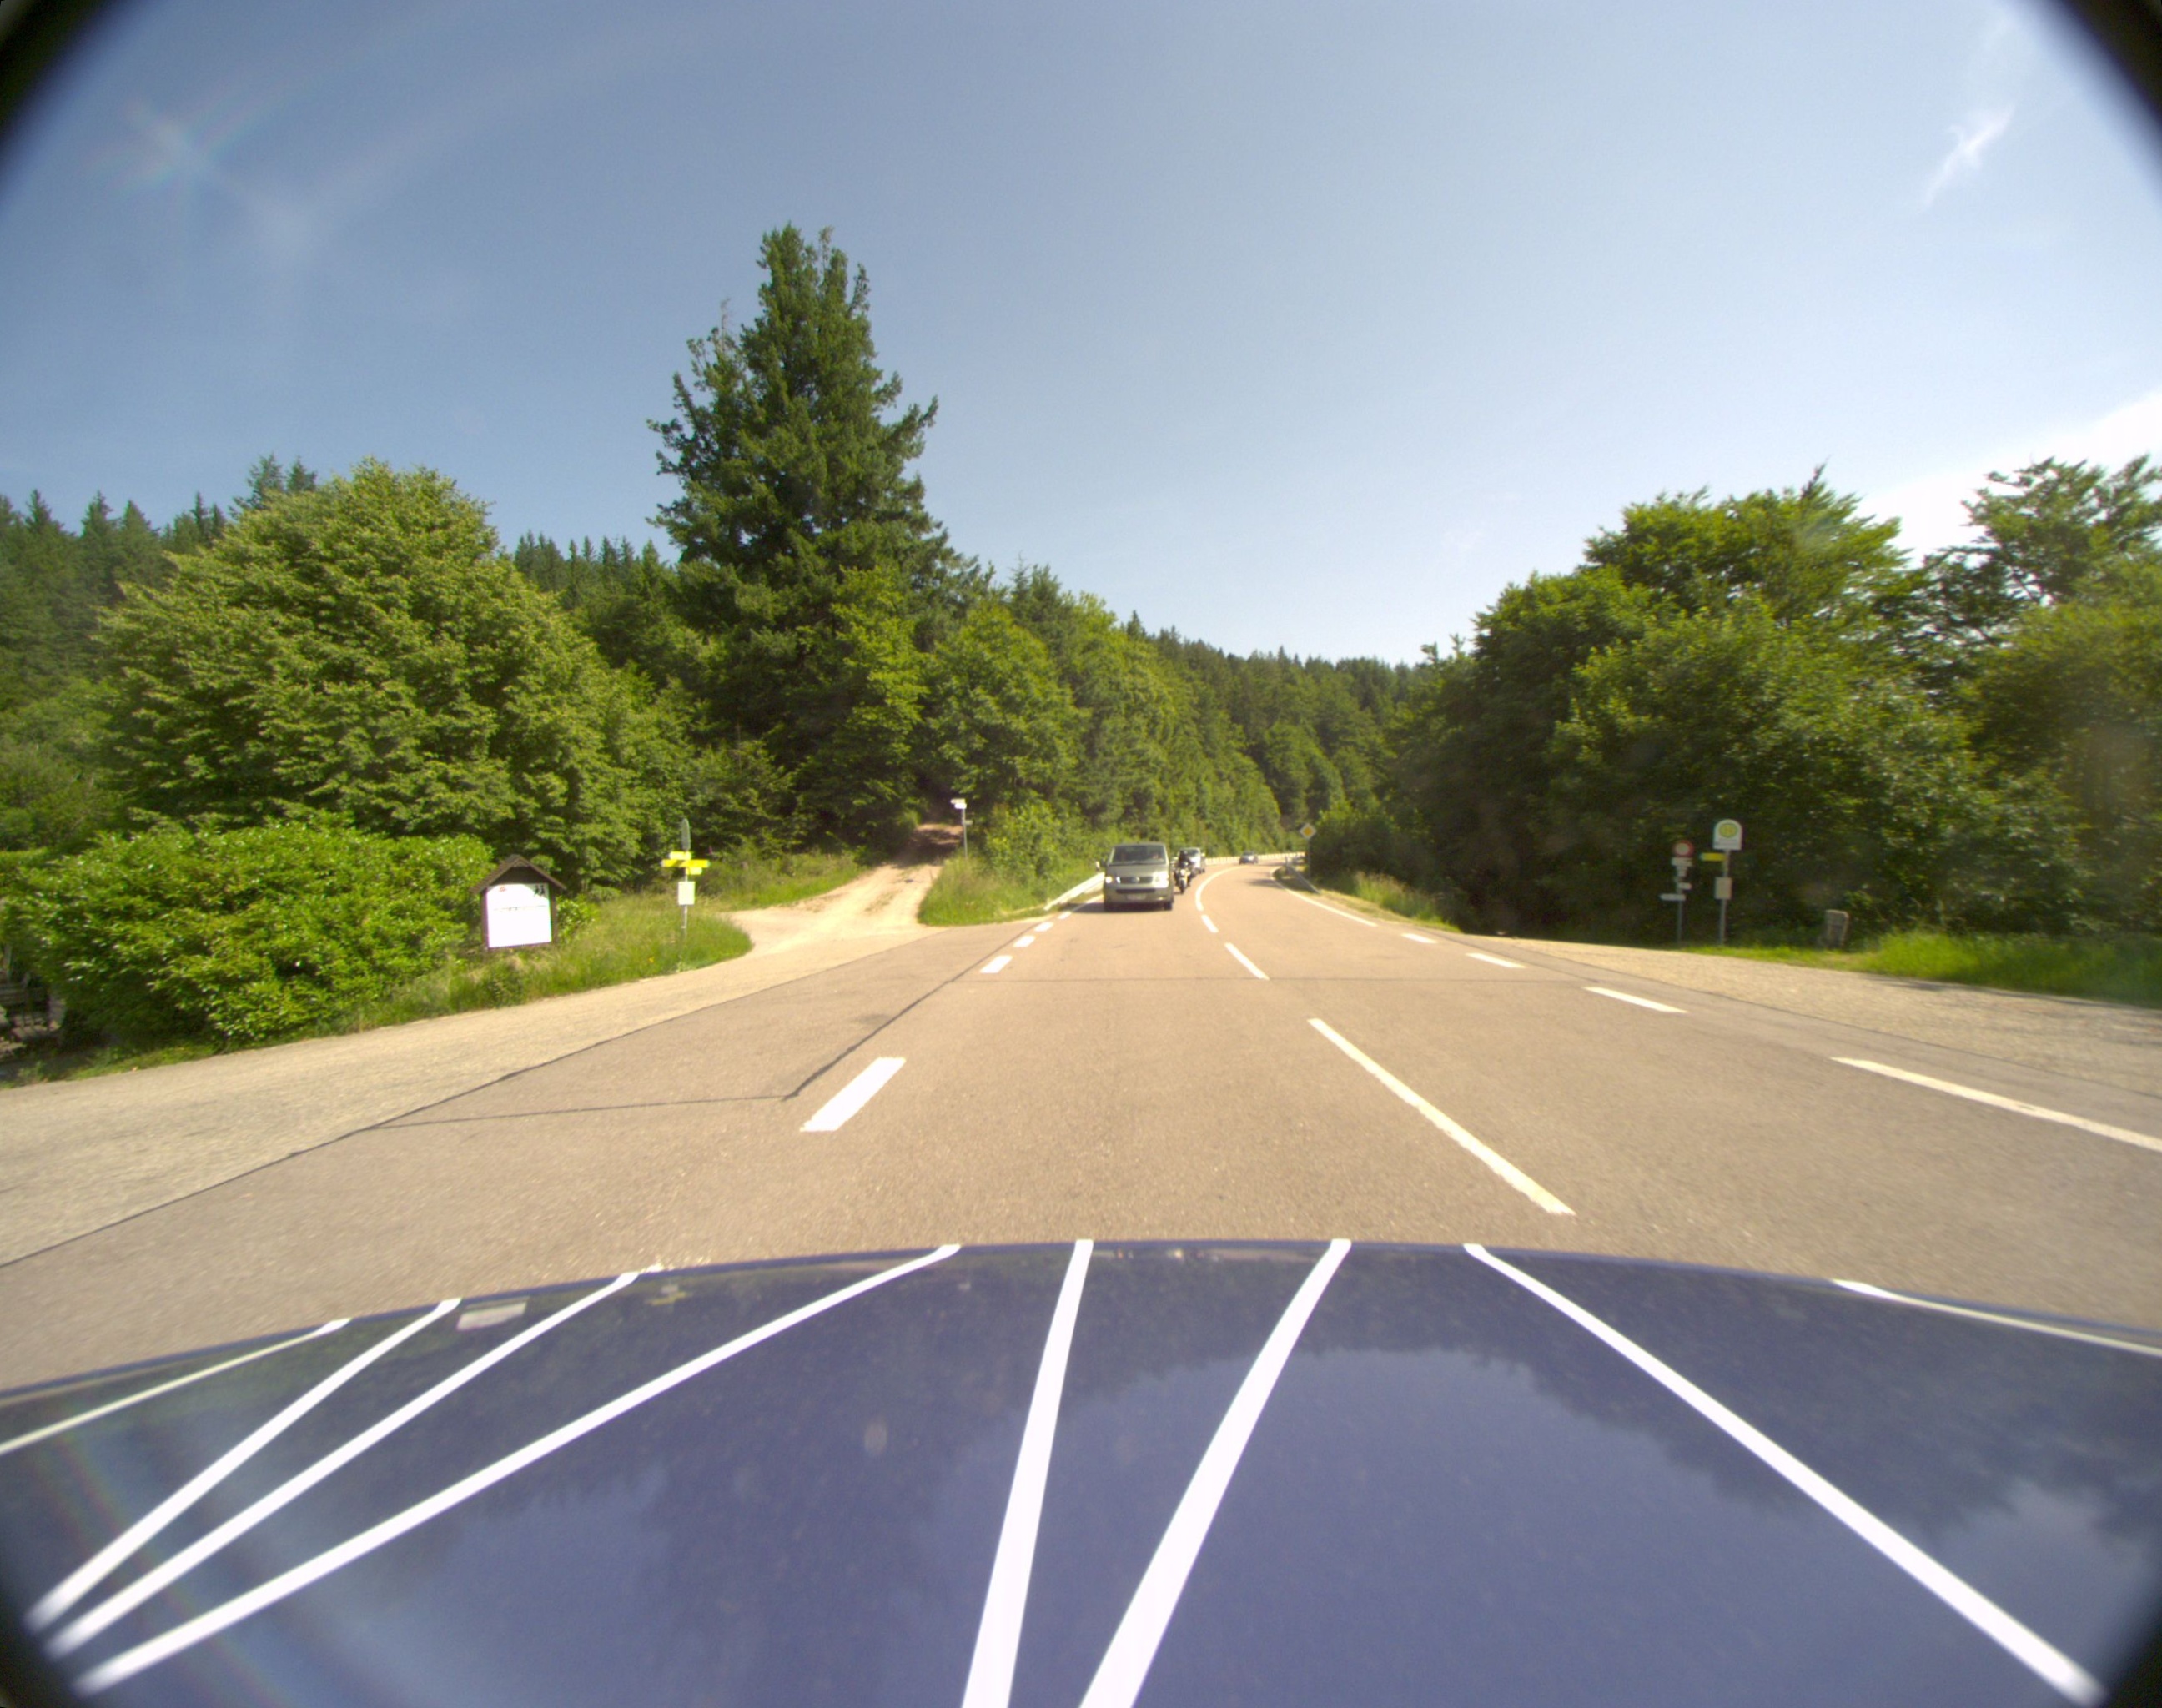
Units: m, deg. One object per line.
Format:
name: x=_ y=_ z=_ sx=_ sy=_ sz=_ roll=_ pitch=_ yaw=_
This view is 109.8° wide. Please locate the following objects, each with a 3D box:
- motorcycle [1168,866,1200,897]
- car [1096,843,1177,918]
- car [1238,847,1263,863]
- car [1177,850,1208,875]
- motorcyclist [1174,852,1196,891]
motorcycle: x=3.995 y=1.026 z=29.228 sx=1.109 sy=1.116 sz=1.962 roll=-1 pitch=0 yaw=10
car: x=1.767 y=0.683 z=22.513 sx=2.028 sy=1.940 sz=4.901 roll=-2 pitch=0 yaw=8
car: x=19.200 y=0.116 z=86.053 sx=1.995 sy=1.633 sz=4.006 roll=-2 pitch=0 yaw=24
car: x=8.157 y=0.577 z=55.352 sx=1.651 sy=1.749 sz=3.799 roll=-1 pitch=1 yaw=16
motorcyclist: x=3.995 y=0.655 z=29.196 sx=0.716 sy=1.421 sz=1.000 roll=-4 pitch=0 yaw=7
